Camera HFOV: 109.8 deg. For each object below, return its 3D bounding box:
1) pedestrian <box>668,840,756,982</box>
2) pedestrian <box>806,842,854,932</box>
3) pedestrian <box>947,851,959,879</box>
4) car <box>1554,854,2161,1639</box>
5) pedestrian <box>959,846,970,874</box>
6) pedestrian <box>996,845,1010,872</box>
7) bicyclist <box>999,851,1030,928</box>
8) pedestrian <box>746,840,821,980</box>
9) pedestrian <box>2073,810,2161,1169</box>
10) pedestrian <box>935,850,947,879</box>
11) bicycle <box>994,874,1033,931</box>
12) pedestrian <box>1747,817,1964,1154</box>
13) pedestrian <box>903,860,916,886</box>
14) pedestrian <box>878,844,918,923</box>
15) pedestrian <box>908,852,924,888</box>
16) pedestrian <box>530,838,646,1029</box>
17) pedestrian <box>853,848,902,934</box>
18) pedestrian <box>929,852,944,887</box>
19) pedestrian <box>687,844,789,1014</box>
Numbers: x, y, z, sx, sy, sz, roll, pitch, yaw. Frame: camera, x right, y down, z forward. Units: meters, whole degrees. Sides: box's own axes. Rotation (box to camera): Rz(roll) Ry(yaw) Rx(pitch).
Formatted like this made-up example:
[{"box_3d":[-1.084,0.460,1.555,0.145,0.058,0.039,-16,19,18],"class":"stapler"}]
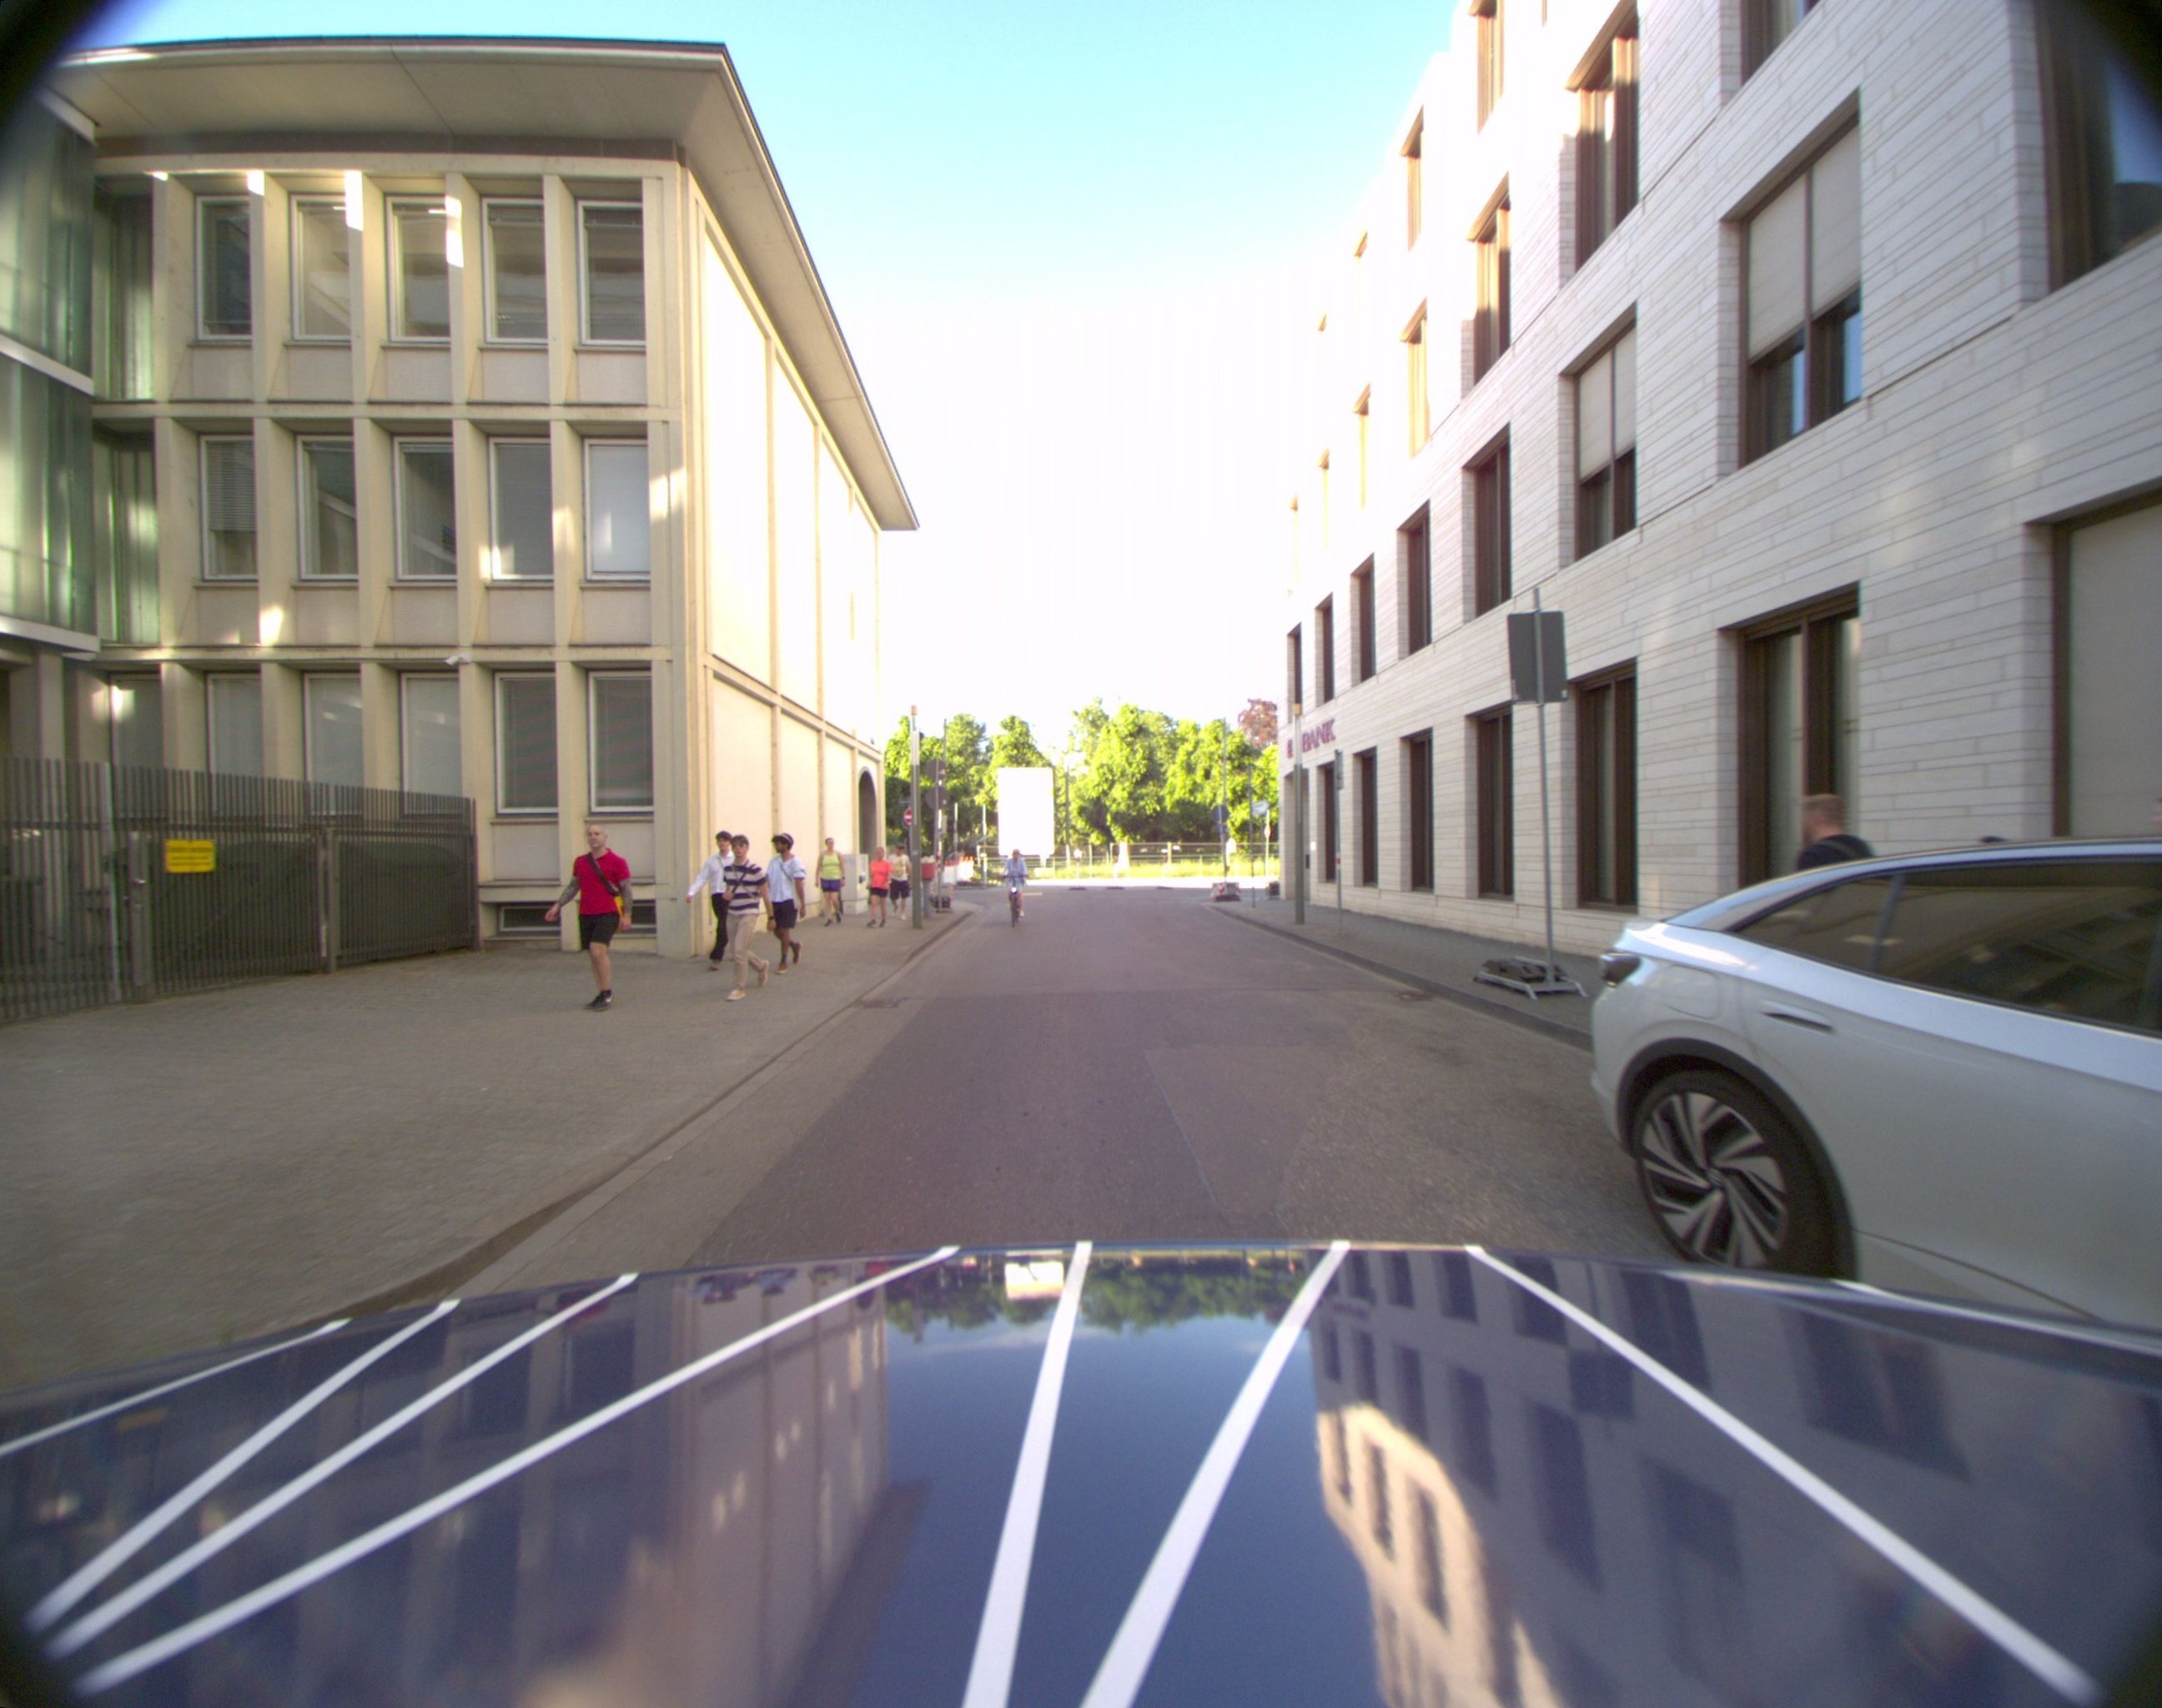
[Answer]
[{"box_3d":[-4.856,0.730,10.035,0.685,1.768,0.693,5,1,0],"class":"pedestrian"},{"box_3d":[-4.963,0.639,15.054,0.685,1.706,0.693,2,1,0],"class":"pedestrian"},{"box_3d":[-8.080,0.680,48.029,0.626,1.773,0.622,-2,2,-7],"class":"pedestrian"},{"box_3d":[3.108,0.807,1.206,1.827,1.532,4.446,-3,0,-1],"class":"car"},{"box_3d":[-7.313,0.373,47.843,0.626,1.773,0.622,-2,2,-7],"class":"pedestrian"},{"box_3d":[-5.250,0.297,51.147,0.627,1.773,0.621,-3,2,-35],"class":"pedestrian"},{"box_3d":[-1.489,0.780,17.100,0.585,1.679,0.538,-2,2,0],"class":"bicyclist"},{"box_3d":[-3.913,0.714,10.024,0.685,1.768,0.693,1,1,0],"class":"pedestrian"},{"box_3d":[5.656,0.665,3.672,0.645,1.780,0.816,-2,2,-1],"class":"pedestrian"},{"box_3d":[-8.844,0.673,47.975,0.626,1.773,0.622,-2,2,-7],"class":"pedestrian"},{"box_3d":[-1.487,1.045,16.988,0.595,1.077,2.310,-2,1,1],"class":"bicycle"},{"box_3d":[4.358,0.698,4.317,0.643,1.780,0.575,-2,2,-1],"class":"pedestrian"},{"box_3d":[-8.014,0.893,35.520,0.535,1.170,0.622,-2,2,-7],"class":"pedestrian"},{"box_3d":[-4.047,0.644,16.838,0.685,1.706,0.693,2,1,0],"class":"pedestrian"},{"box_3d":[-7.543,0.716,34.715,0.626,1.632,0.622,-2,2,-7],"class":"pedestrian"},{"box_3d":[-4.803,0.750,7.435,0.685,1.768,0.593,3,1,0],"class":"pedestrian"},{"box_3d":[-4.005,0.708,14.971,0.685,1.627,0.693,4,1,0],"class":"pedestrian"},{"box_3d":[-6.834,0.719,35.892,0.626,1.604,0.622,-2,2,-7],"class":"pedestrian"},{"box_3d":[-3.780,0.798,8.430,0.685,1.768,0.693,5,1,0],"class":"pedestrian"}]
